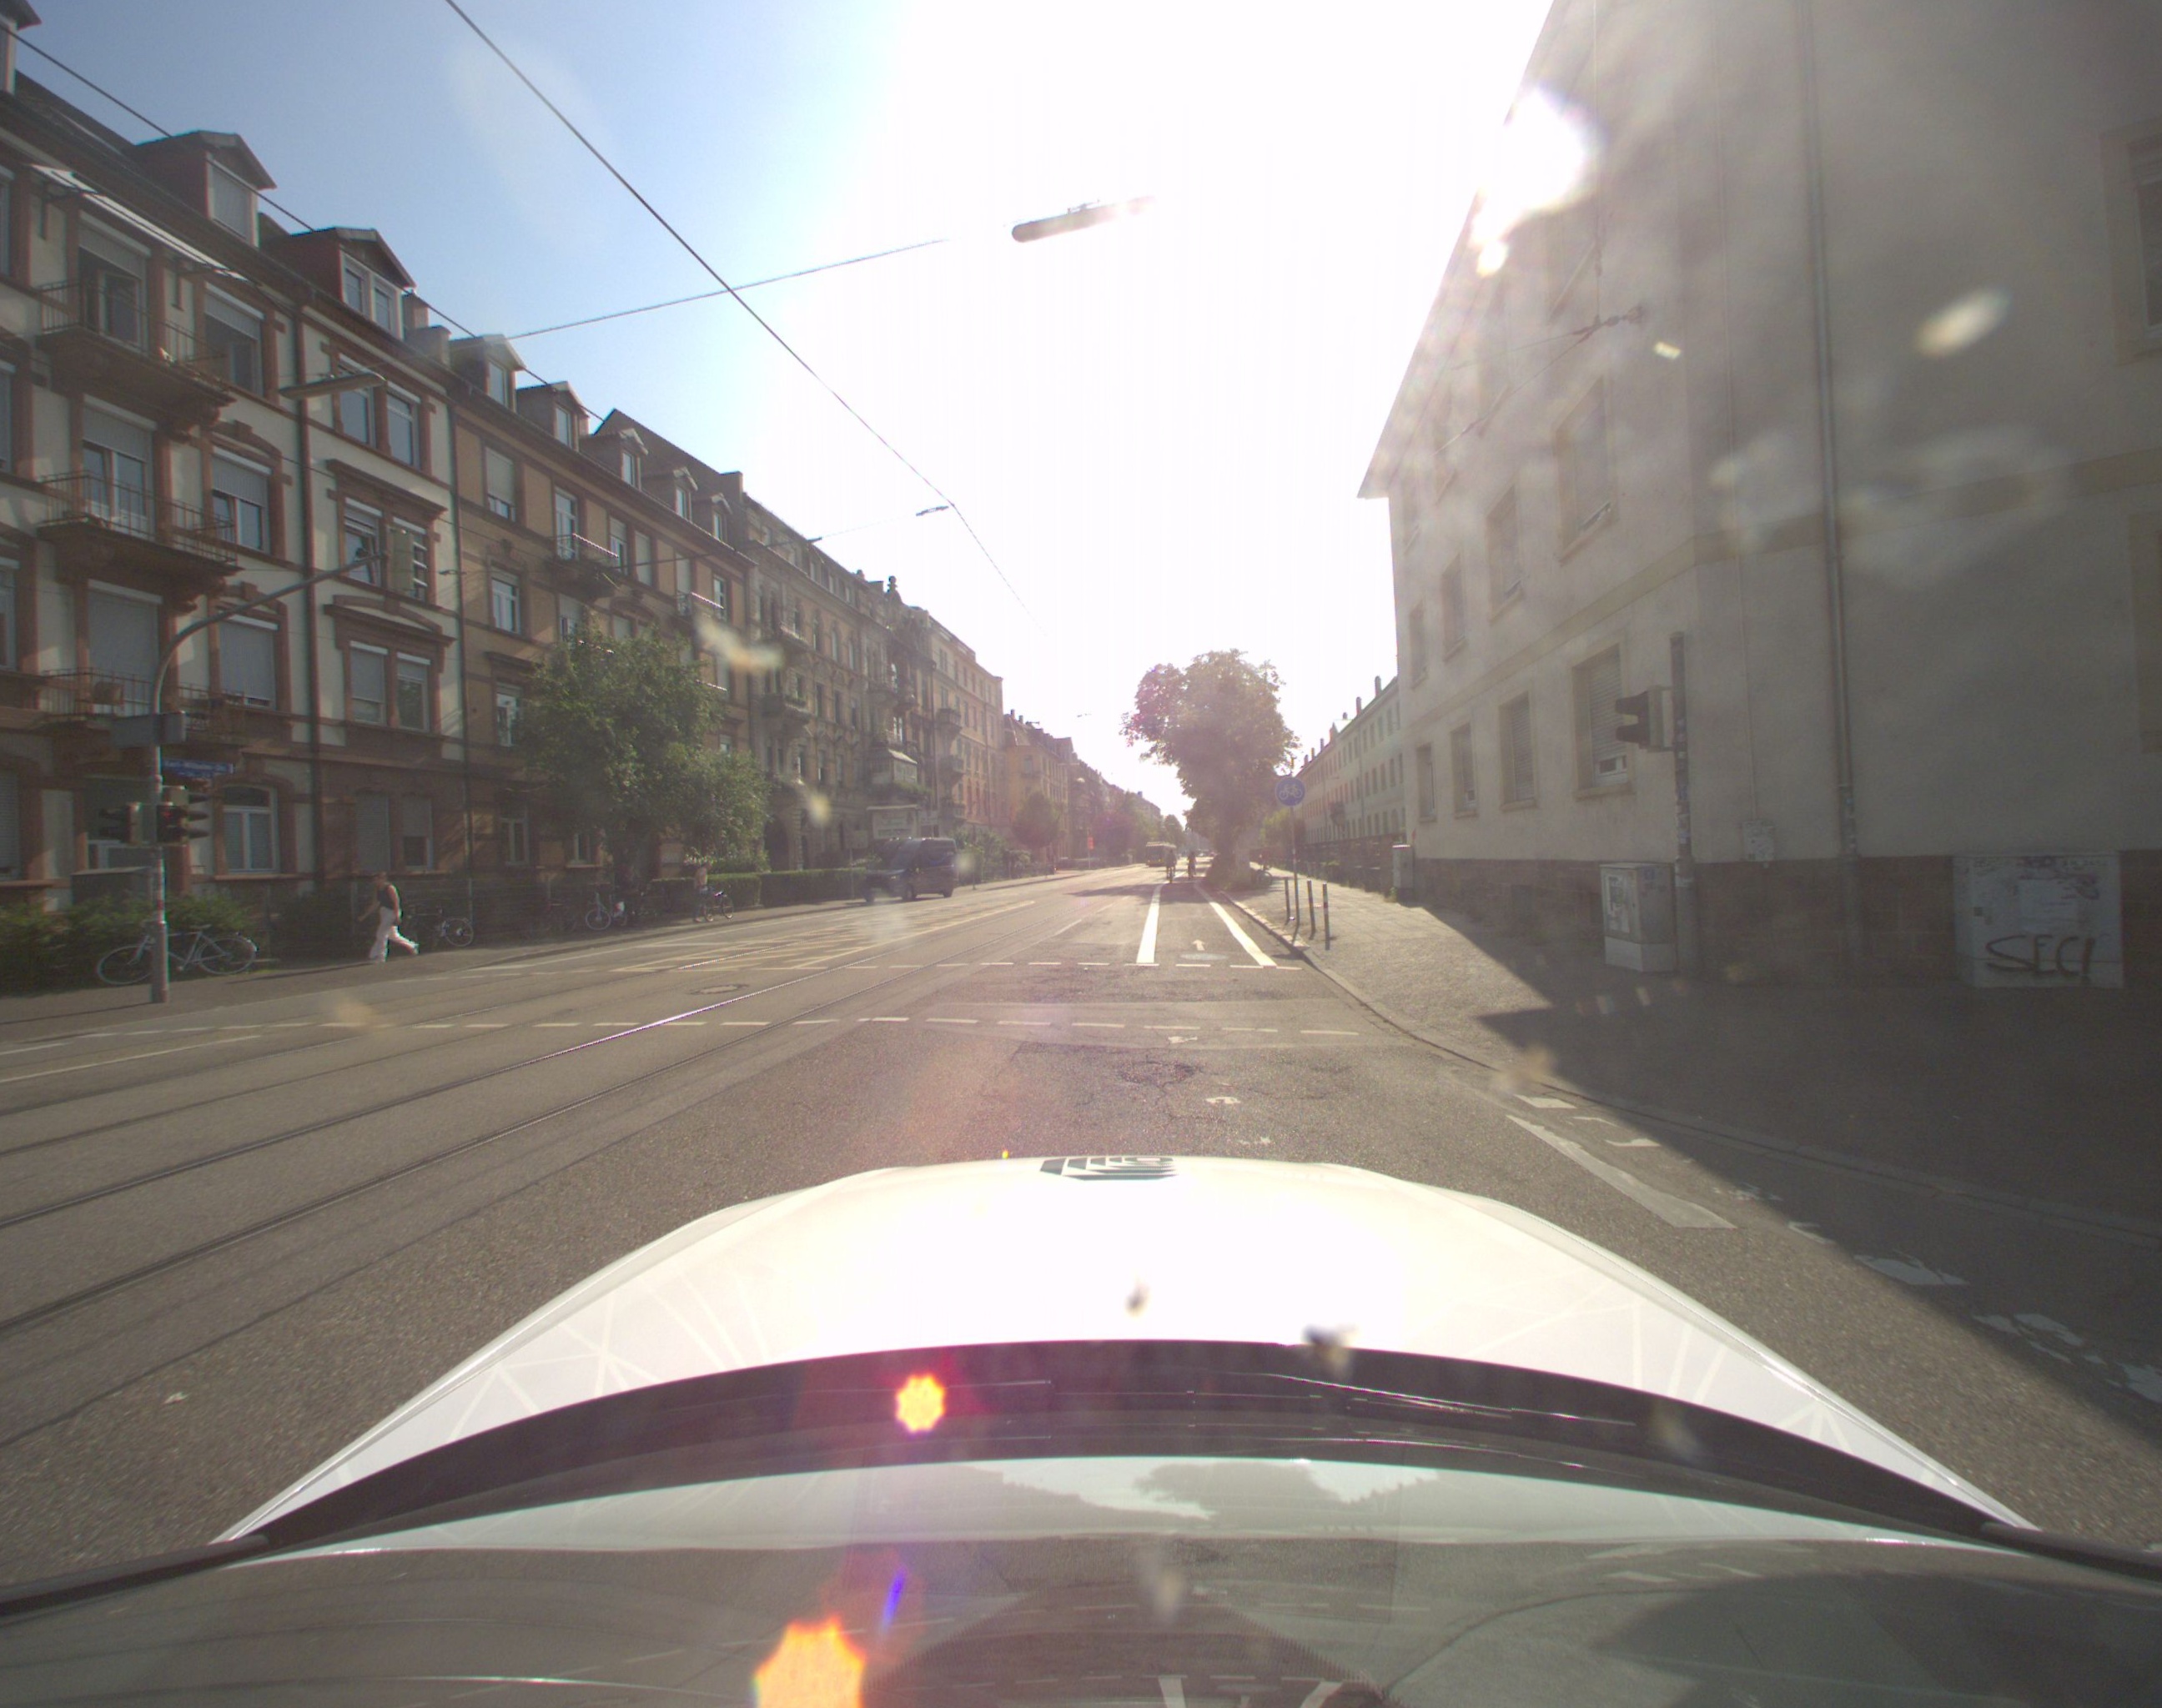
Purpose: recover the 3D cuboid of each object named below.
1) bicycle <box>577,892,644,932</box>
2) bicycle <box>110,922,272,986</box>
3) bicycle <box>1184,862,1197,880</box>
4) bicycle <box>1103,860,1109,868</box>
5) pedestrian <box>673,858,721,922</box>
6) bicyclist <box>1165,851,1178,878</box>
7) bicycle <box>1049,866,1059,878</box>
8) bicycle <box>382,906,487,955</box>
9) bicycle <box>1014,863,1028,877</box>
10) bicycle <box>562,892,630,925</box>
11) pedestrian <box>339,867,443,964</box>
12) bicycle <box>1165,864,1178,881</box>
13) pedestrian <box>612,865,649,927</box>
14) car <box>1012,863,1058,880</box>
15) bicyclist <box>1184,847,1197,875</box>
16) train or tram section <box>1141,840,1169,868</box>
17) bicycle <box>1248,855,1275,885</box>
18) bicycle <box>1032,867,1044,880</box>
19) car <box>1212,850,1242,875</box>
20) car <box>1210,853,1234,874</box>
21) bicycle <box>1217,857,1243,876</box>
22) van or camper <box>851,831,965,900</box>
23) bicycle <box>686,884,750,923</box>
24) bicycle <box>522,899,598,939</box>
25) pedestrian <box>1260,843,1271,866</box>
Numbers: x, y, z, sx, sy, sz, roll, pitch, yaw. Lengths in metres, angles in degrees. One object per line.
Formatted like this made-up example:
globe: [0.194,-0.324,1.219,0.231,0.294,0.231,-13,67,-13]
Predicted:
bicycle: [-12.772,1.564,22.156,0.522,0.927,1.708,-3,0,12]
bicycle: [-15.344,1.706,14.119,1.838,0.860,0.521,-2,0,-43]
bicycle: [5.782,0.899,42.927,0.650,0.909,1.779,-1,-1,9]
bicycle: [3.441,1.378,110.729,0.505,1.108,2.009,-3,-1,10]
pedestrian: [-11.330,1.046,24.081,0.723,1.806,1.095,-3,-1,8]
bicyclist: [4.833,0.558,43.426,0.623,1.401,0.931,-1,-1,8]
bicycle: [-2.519,1.685,76.028,0.541,1.058,1.845,1,0,11]
bicycle: [-13.966,1.632,17.670,0.522,0.860,1.834,-3,0,12]
bicycle: [-4.676,1.243,63.219,0.602,1.058,1.845,1,0,11]
bicycle: [-13.903,1.565,23.350,1.686,0.860,0.529,-3,0,9]
pedestrian: [-13.442,1.173,15.905,0.898,1.766,1.190,-3,-1,13]
bicycle: [4.850,0.986,43.409,0.623,0.909,1.529,-1,-1,9]
pedestrian: [-12.537,1.163,22.680,0.635,1.678,0.633,-3,-1,-3]
car: [-4.447,1.707,79.834,4.113,1.543,2.069,-2,-2,8]
bicyclist: [5.779,0.366,42.918,0.650,1.474,0.911,-1,-1,8]
train or tram section: [10.446,0.022,113.717,2.718,3.505,15.471,-2,-1,9]
bicycle: [7.117,0.615,32.252,0.767,1.104,2.338,-3,-1,7]
bicycle: [-3.655,1.619,69.077,0.541,1.058,1.845,1,0,11]
car: [10.063,0.582,55.878,1.633,1.540,3.857,-5,-1,15]
car: [11.038,0.732,63.757,1.635,1.448,4.257,-5,-1,10]
bicycle: [9.099,0.777,49.540,1.737,1.073,0.519,-2,-1,-40]
van or camper: [-7.358,0.500,35.470,2.035,2.644,6.115,-4,-1,16]
bicycle: [-10.786,1.445,24.289,0.615,1.007,2.156,-3,0,9]
bicycle: [-13.077,1.613,20.484,0.522,0.860,1.708,-3,0,12]
pedestrian: [14.402,0.051,63.567,0.747,1.749,0.882,-3,-1,16]
